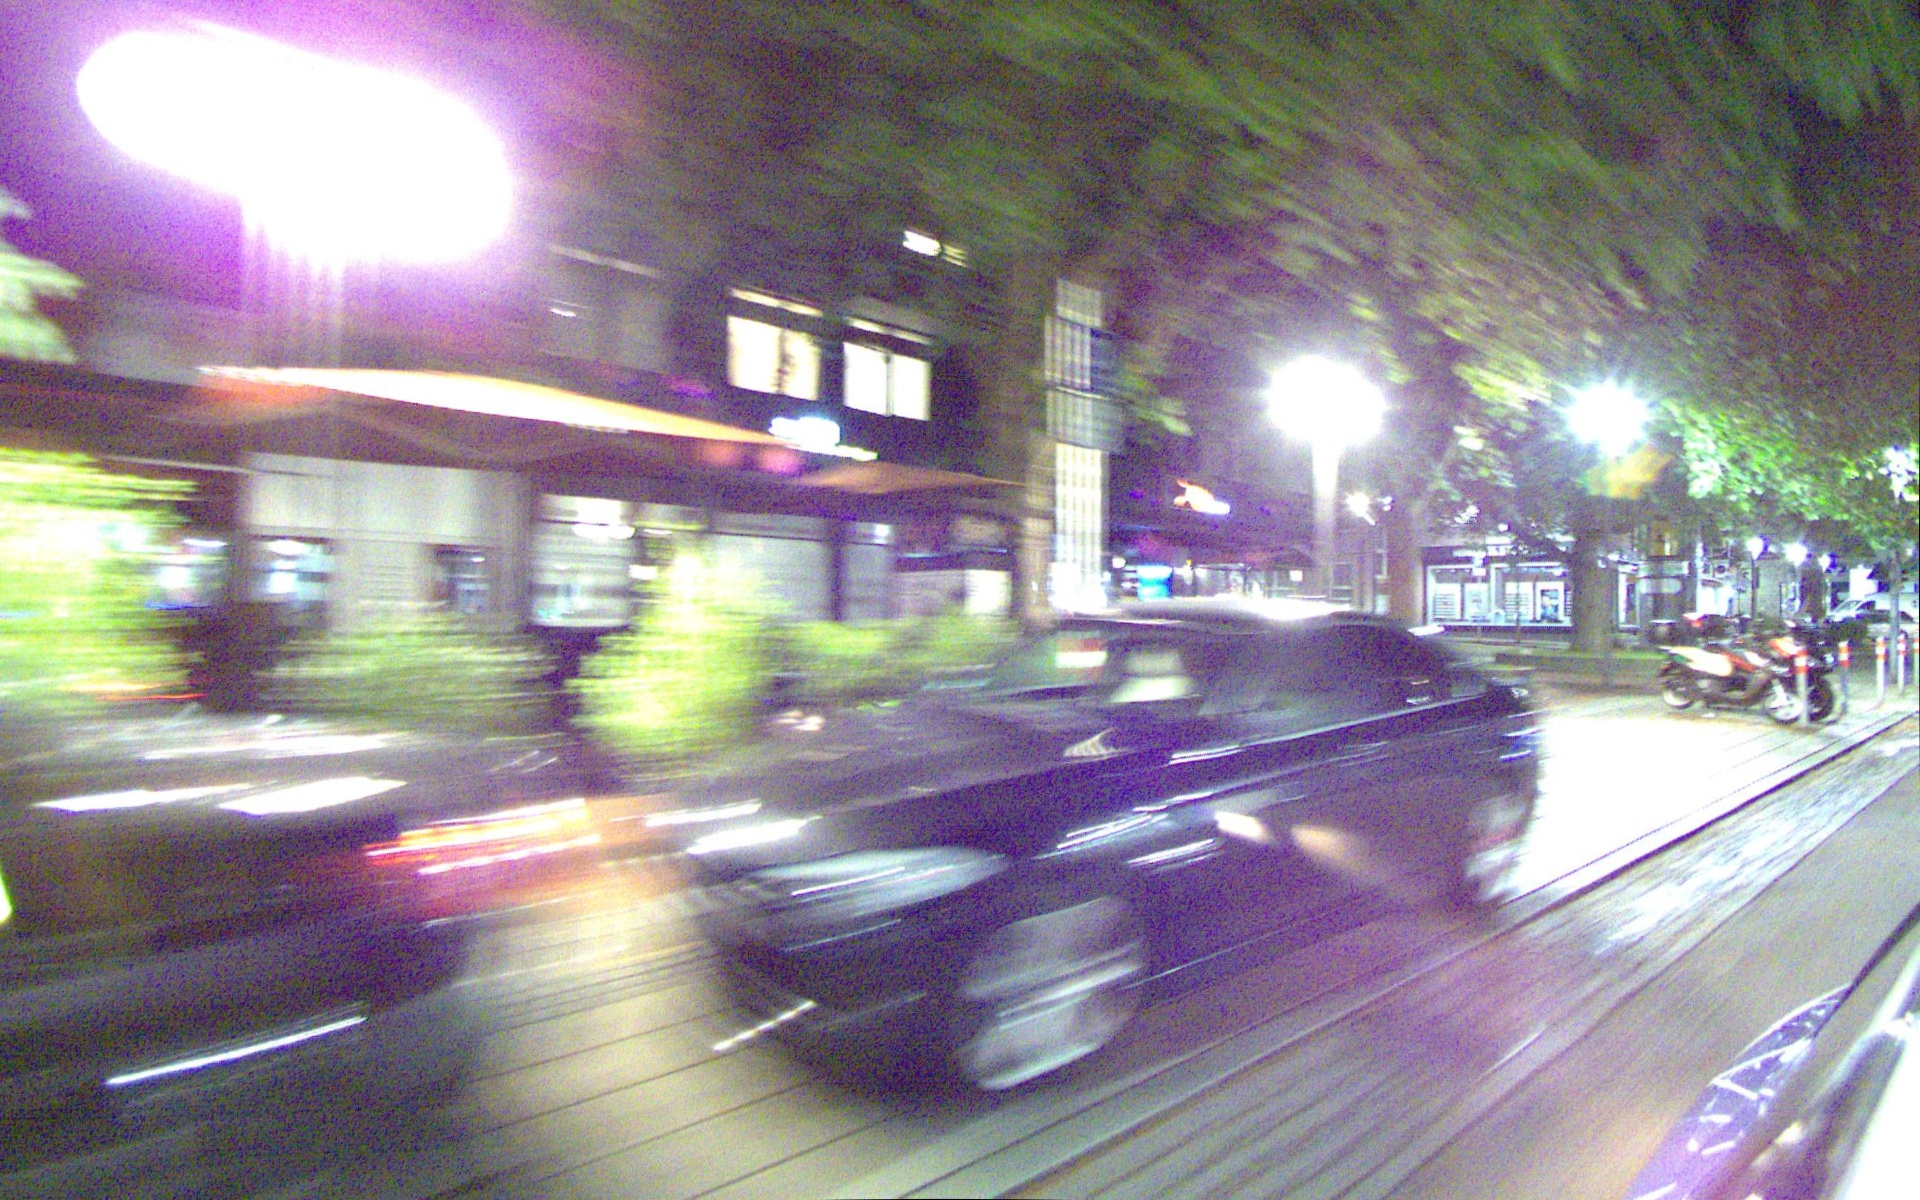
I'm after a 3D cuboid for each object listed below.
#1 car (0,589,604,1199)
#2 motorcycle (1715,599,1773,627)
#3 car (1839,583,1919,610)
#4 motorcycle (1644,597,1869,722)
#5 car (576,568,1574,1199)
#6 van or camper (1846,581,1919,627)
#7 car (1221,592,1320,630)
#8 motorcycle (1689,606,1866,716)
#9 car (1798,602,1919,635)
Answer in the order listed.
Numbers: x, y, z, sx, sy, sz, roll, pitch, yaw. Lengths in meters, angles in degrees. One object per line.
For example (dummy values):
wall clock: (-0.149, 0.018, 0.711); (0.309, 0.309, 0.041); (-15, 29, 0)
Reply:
car: (-2.838, 0.694, 1.504); (4.029, 1.394, 1.666); (0, 2, -38)
motorcycle: (36.875, 0.606, 47.593); (2.183, 1.287, 0.531); (1, -1, 6)
car: (50.715, -0.194, 55.657); (3.141, 1.474, 1.683); (1, 0, 21)
motorcycle: (10.019, 0.691, 12.868); (0.647, 1.409, 2.276); (1, 0, -16)
car: (0.829, 0.668, 4.455); (4.385, 1.482, 1.758); (0, 2, -38)
van or camper: (53.947, 0.232, 56.769); (5.971, 2.565, 2.150); (1, -1, 18)
car: (14.418, 0.514, 47.166); (1.868, 1.610, 3.993); (3, -1, -42)
motorcycle: (10.927, 0.767, 13.643); (0.505, 1.314, 2.172); (1, 1, -4)
car: (42.794, 0.881, 47.941); (4.479, 1.474, 1.630); (1, 0, 14)
